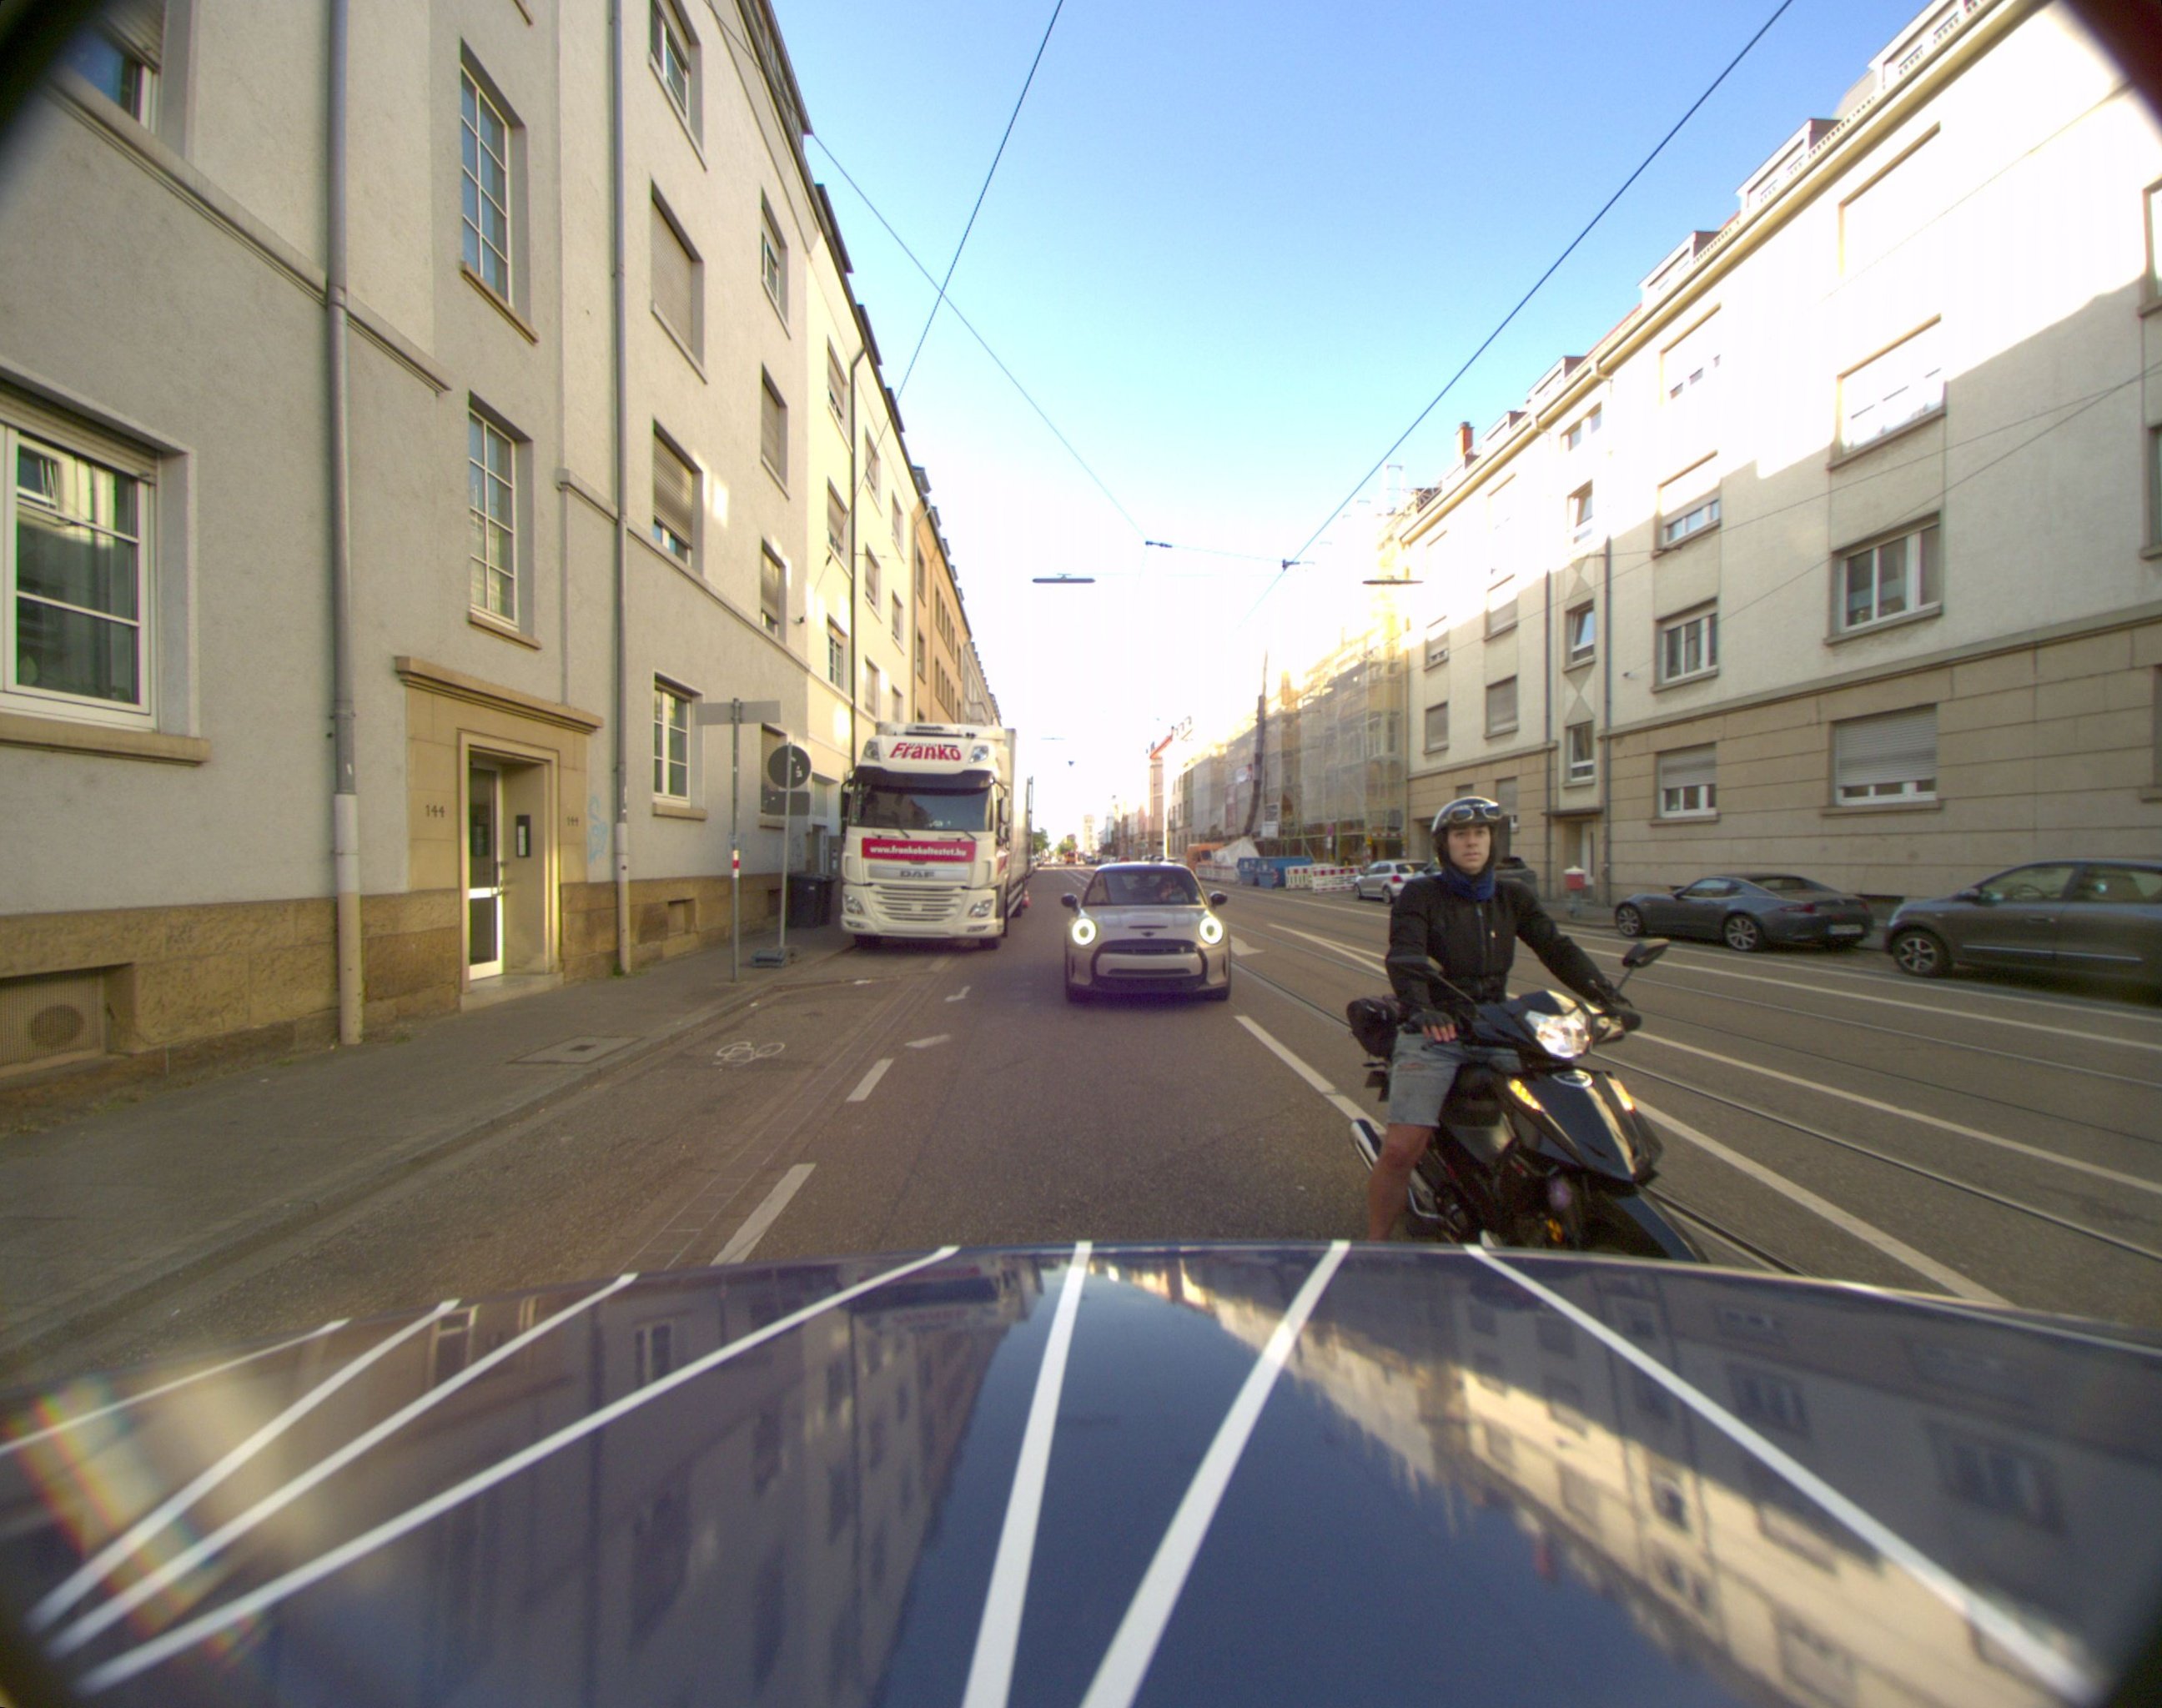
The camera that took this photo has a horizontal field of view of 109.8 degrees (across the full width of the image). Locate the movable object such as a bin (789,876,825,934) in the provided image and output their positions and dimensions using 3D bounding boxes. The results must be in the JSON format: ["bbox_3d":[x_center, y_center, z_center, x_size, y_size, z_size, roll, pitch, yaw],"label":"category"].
[{"bbox_3d":[-5.405,1.001,15.003,0.512,1.085,0.495,-2,1,-4],"label":"movable object such as a bin"}]

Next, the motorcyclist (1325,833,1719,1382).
[{"bbox_3d":[1.317,0.703,2.396,0.862,1.496,0.598,-2,1,1],"label":"motorcyclist"}]

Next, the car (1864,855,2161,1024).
[{"bbox_3d":[11.359,0.843,8.424,1.670,1.563,3.496,-2,1,-2],"label":"car"}]

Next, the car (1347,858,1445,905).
[{"bbox_3d":[10.628,0.874,25.875,1.637,1.383,3.643,-2,1,-3],"label":"car"}]

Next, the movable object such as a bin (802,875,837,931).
[{"bbox_3d":[-5.371,0.997,15.622,0.512,1.085,0.495,-2,1,-4],"label":"movable object such as a bin"}]

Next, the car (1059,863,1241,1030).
[{"bbox_3d":[0.635,0.877,9.050,1.692,1.495,4.000,0,0,0],"label":"car"}]

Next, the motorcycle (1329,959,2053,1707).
[{"bbox_3d":[1.327,1.070,2.232,0.538,1.212,1.981,-2,1,1],"label":"motorcycle"}]

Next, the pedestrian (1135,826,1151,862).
[{"bbox_3d":[7.685,-1.277,94.343,1.723,4.377,1.153,-2,1,2],"label":"pedestrian"}]

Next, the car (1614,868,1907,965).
[{"bbox_3d":[11.251,0.949,12.939,1.751,1.269,3.488,-2,1,-4],"label":"car"}]

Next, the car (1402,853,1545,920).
[{"bbox_3d":[10.820,0.815,21.294,1.712,1.582,4.112,-2,1,-3],"label":"car"}]

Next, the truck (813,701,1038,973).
[{"bbox_3d":[-2.639,-0.247,17.166,2.899,3.939,11.704,-2,0,-2],"label":"truck"}]
